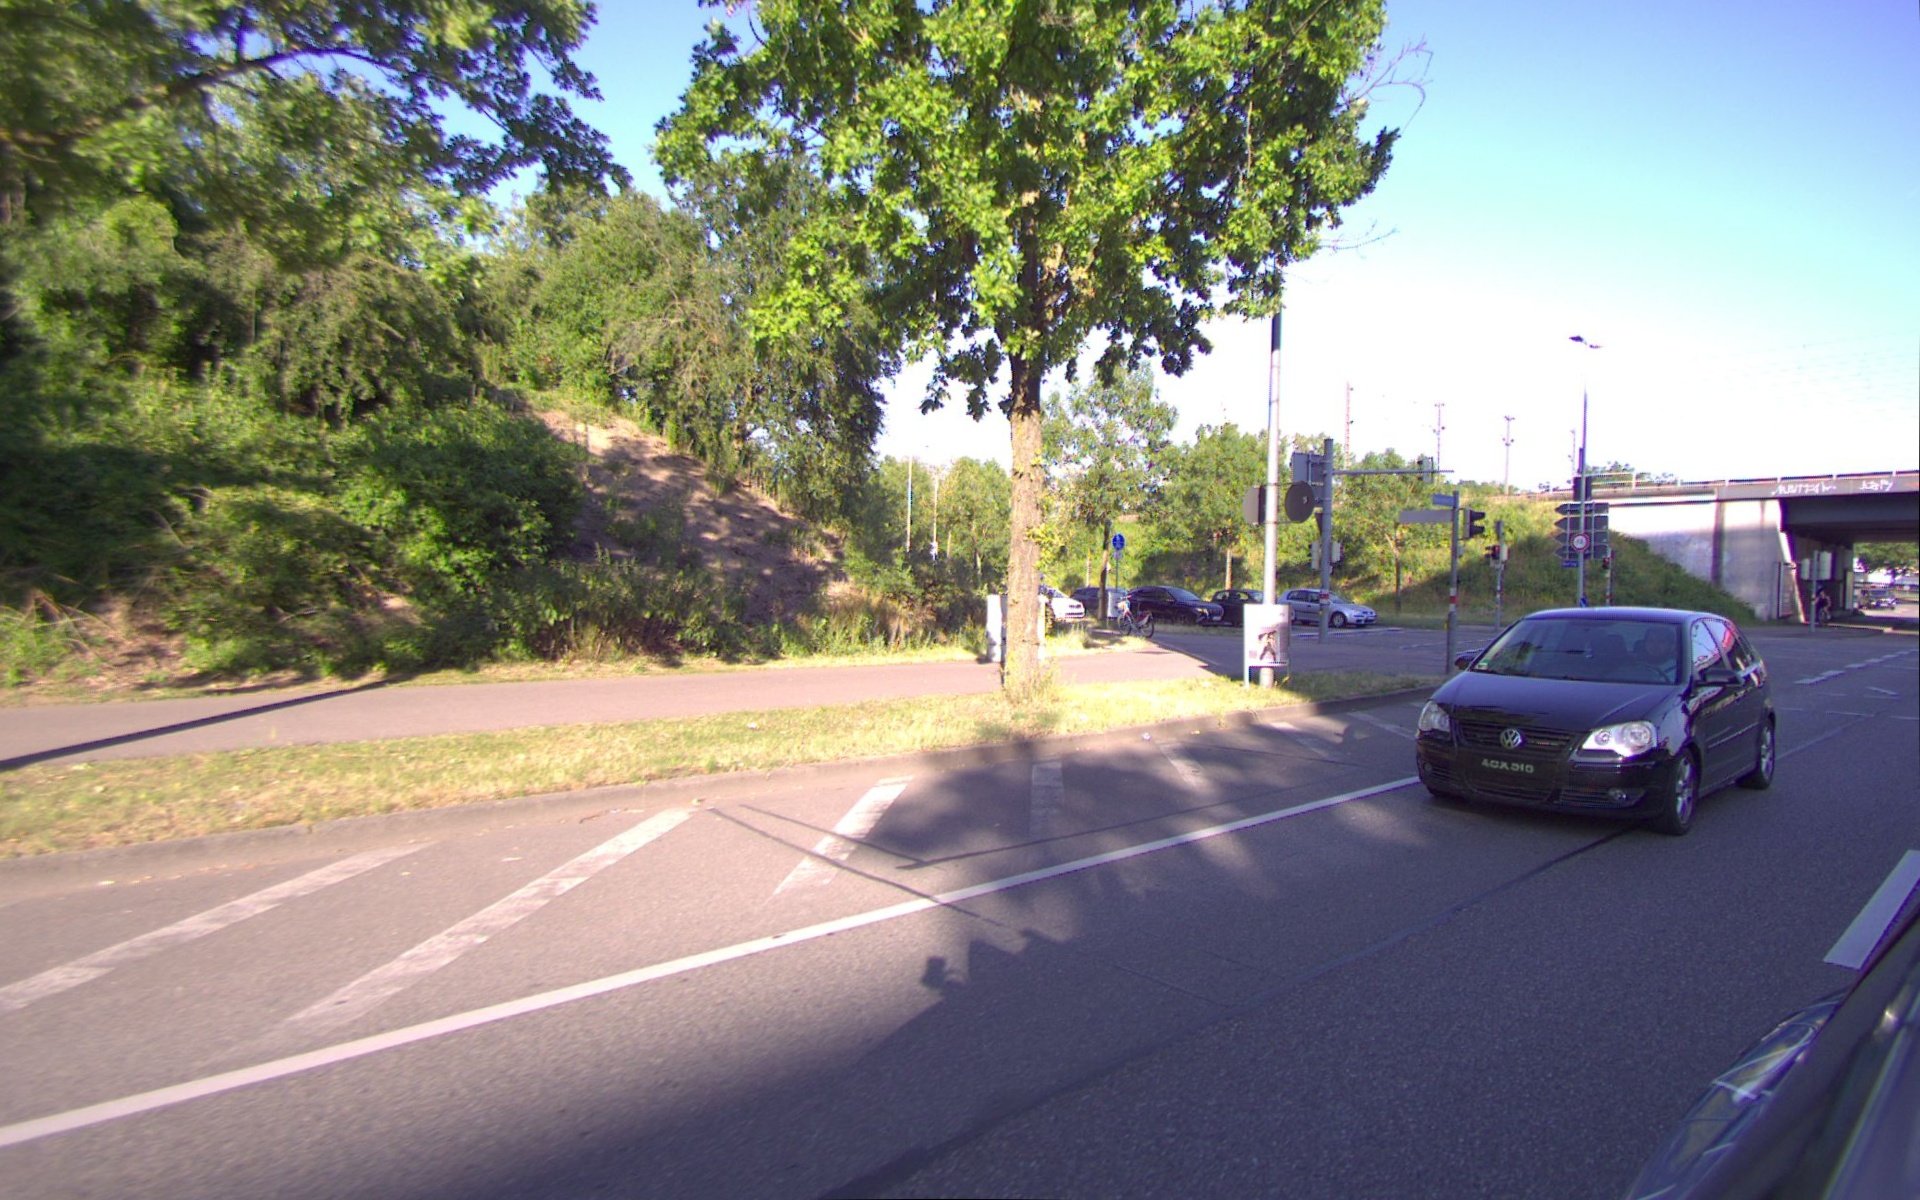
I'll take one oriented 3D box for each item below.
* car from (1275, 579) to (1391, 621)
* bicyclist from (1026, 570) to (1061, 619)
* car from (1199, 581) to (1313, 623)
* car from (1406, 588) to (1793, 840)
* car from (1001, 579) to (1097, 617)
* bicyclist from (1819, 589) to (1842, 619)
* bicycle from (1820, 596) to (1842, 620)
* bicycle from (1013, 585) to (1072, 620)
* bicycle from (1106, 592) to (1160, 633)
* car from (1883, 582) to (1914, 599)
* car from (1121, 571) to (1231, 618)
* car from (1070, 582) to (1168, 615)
[{"bbox_3d":[14.885,-0.023,40.564,1.857,1.549,3.996,-1,1,-39],"label":"car"},{"bbox_3d":[2.816,-0.188,33.978,0.779,1.614,0.858,-1,1,-41],"label":"bicyclist"},{"bbox_3d":[11.640,0.032,39.970,1.962,1.549,4.001,-1,1,-34],"label":"car"},{"bbox_3d":[5.018,0.651,7.752,3.621,1.427,1.618,-2,1,-42],"label":"car"},{"bbox_3d":[3.945,-0.115,45.468,2.002,1.587,4.343,-1,1,-34],"label":"car"},{"bbox_3d":[42.834,0.202,49.792,0.840,1.439,1.098,0,1,41],"label":"bicyclist"},{"bbox_3d":[42.855,0.376,49.794,0.779,1.070,2.460,0,1,41],"label":"bicycle"},{"bbox_3d":[2.760,0.069,34.052,0.807,1.126,2.016,-1,1,-40],"label":"bicycle"},{"bbox_3d":[4.705,0.336,27.657,0.566,1.003,1.671,3,1,-24],"label":"bicycle"},{"bbox_3d":[84.973,-0.855,91.668,1.869,1.457,3.630,0,1,40],"label":"car"},{"bbox_3d":[8.315,-0.220,39.223,1.827,1.715,4.001,-1,1,-34],"label":"car"},{"bbox_3d":[7.157,-0.102,46.001,2.002,1.425,4.343,-1,1,-34],"label":"car"}]
